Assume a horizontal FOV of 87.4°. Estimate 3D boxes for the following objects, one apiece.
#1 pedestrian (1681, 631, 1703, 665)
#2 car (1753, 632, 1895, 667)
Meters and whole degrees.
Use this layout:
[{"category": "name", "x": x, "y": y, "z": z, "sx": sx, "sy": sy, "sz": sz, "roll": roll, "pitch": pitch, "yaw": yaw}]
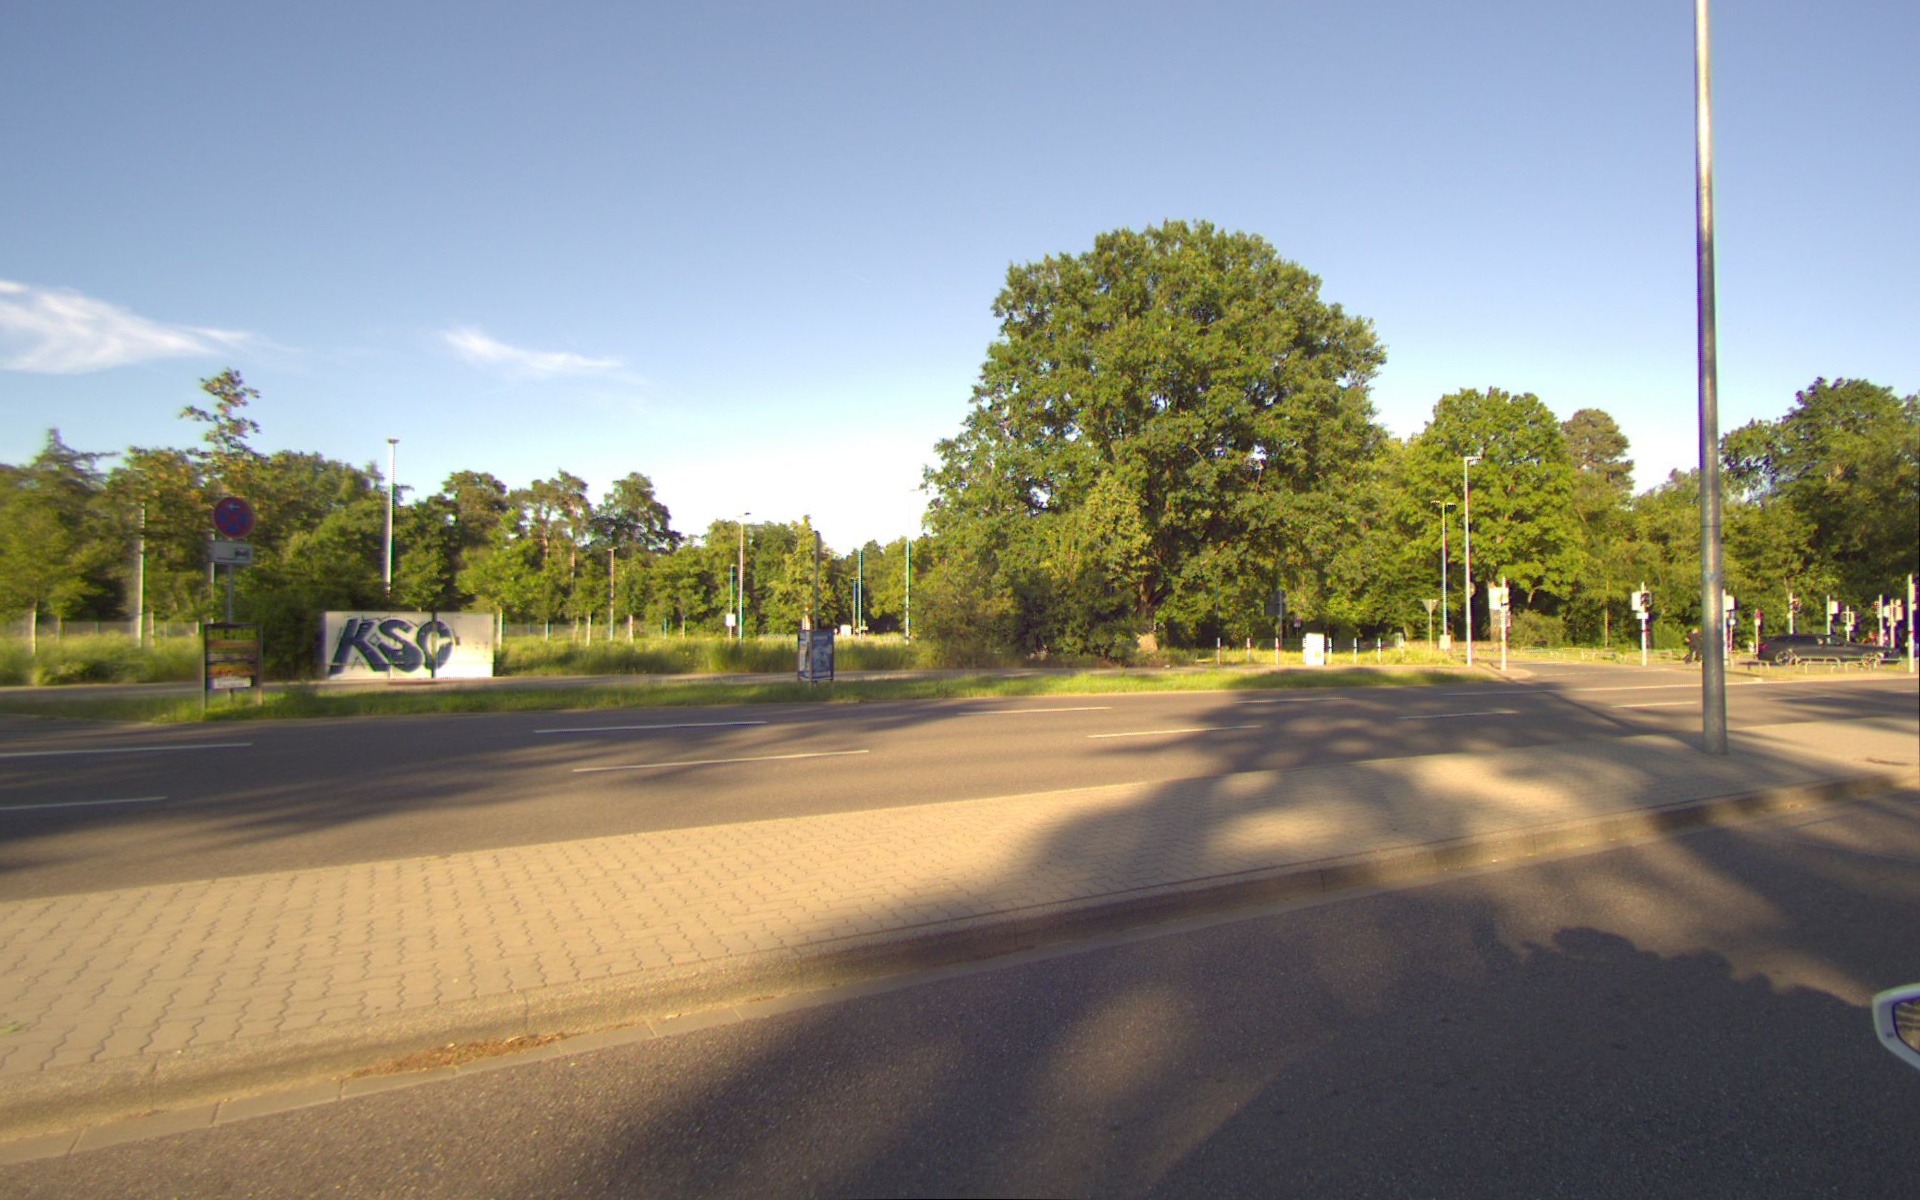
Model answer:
[{"category": "pedestrian", "x": 34.250, "y": 2.237, "z": 47.003, "sx": 0.636, "sy": 1.580, "sz": 0.539, "roll": -1, "pitch": -2, "yaw": 19}, {"category": "car", "x": 39.853, "y": 2.254, "z": 46.434, "sx": 1.984, "sy": 1.517, "sz": 4.733, "roll": 2, "pitch": -3, "yaw": -40}]
